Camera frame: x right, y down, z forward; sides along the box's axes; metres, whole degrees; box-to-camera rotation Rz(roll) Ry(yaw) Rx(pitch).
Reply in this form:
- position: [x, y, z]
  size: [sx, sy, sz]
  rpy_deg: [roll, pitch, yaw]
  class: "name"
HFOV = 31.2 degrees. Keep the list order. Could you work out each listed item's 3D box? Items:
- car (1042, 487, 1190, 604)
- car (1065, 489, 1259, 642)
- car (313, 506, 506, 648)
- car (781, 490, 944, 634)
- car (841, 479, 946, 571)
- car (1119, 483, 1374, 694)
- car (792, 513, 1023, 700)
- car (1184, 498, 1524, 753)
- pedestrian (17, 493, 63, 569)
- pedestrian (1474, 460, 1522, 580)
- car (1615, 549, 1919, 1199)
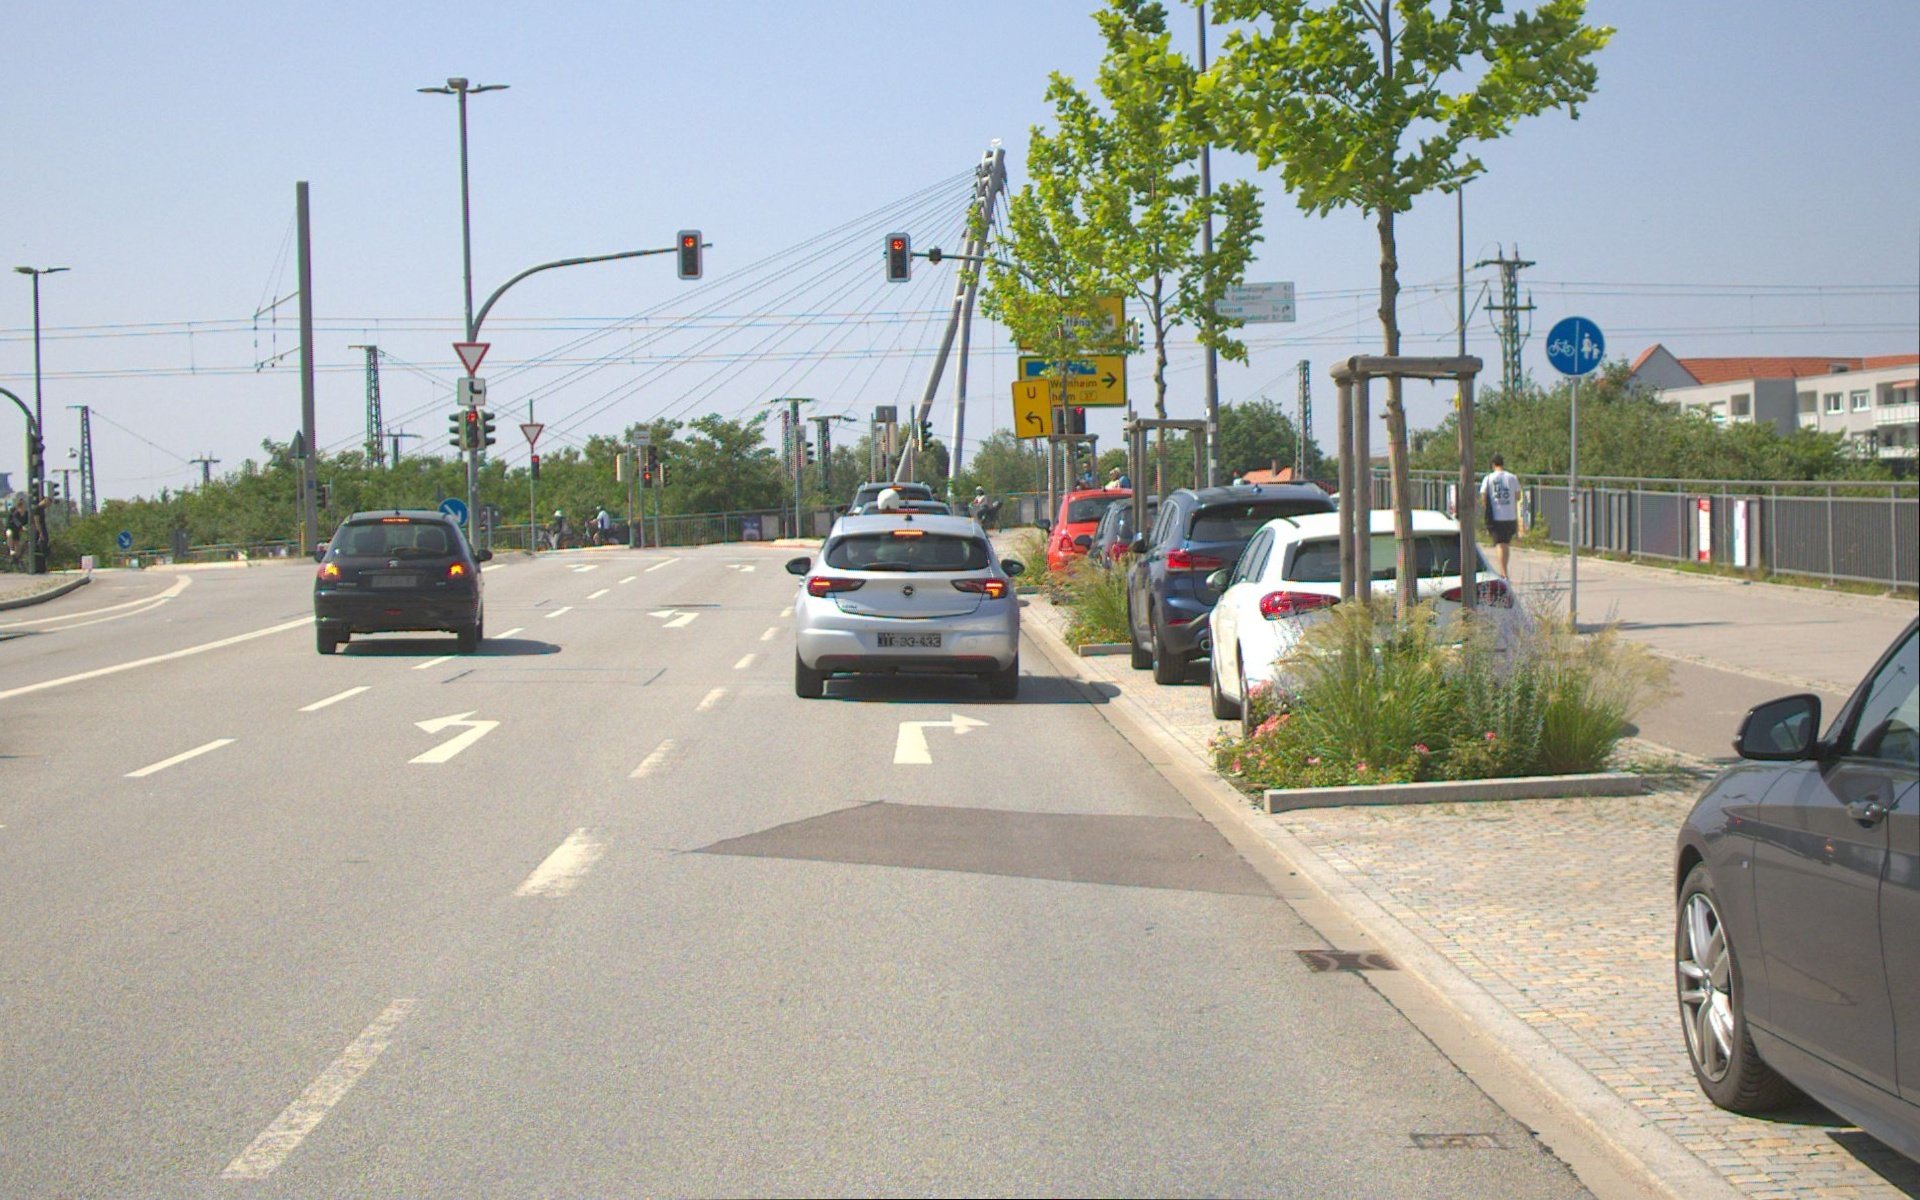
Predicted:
- position: [2.114, -0.774, 47.554]
  size: [1.778, 1.498, 4.000]
  rpy_deg: [-2, 1, -1]
  class: "car"
- position: [2.230, -0.415, 38.917]
  size: [1.778, 1.498, 4.000]
  rpy_deg: [-5, 1, -1]
  class: "car"
- position: [-5.704, -0.266, 35.948]
  size: [1.619, 1.411, 3.728]
  rpy_deg: [0, 1, -3]
  class: "car"
- position: [-1.110, -0.486, 40.139]
  size: [1.778, 1.563, 4.001]
  rpy_deg: [-1, 2, -1]
  class: "car"
- position: [-1.177, -1.366, 61.243]
  size: [1.778, 1.563, 4.001]
  rpy_deg: [-1, 2, -1]
  class: "car"
- position: [2.375, -0.151, 29.302]
  size: [1.822, 1.611, 3.611]
  rpy_deg: [-2, 2, 0]
  class: "car"
- position: [-0.431, 0.006, 28.479]
  size: [1.778, 1.437, 4.000]
  rpy_deg: [0, 1, -1]
  class: "car"
- position: [2.509, 0.106, 22.796]
  size: [1.696, 1.470, 4.206]
  rpy_deg: [-2, 1, 0]
  class: "car"
- position: [-20.047, -1.512, 74.934]
  size: [0.844, 1.641, 0.828]
  rpy_deg: [0, 1, -6]
  class: "pedestrian"
- position: [7.120, -1.060, 45.516]
  size: [0.533, 1.570, 0.524]
  rpy_deg: [1, 0, -1]
  class: "pedestrian"
- position: [2.649, 0.572, 7.175]
  size: [1.704, 1.397, 4.270]
  rpy_deg: [-2, 0, 0]
  class: "car"
